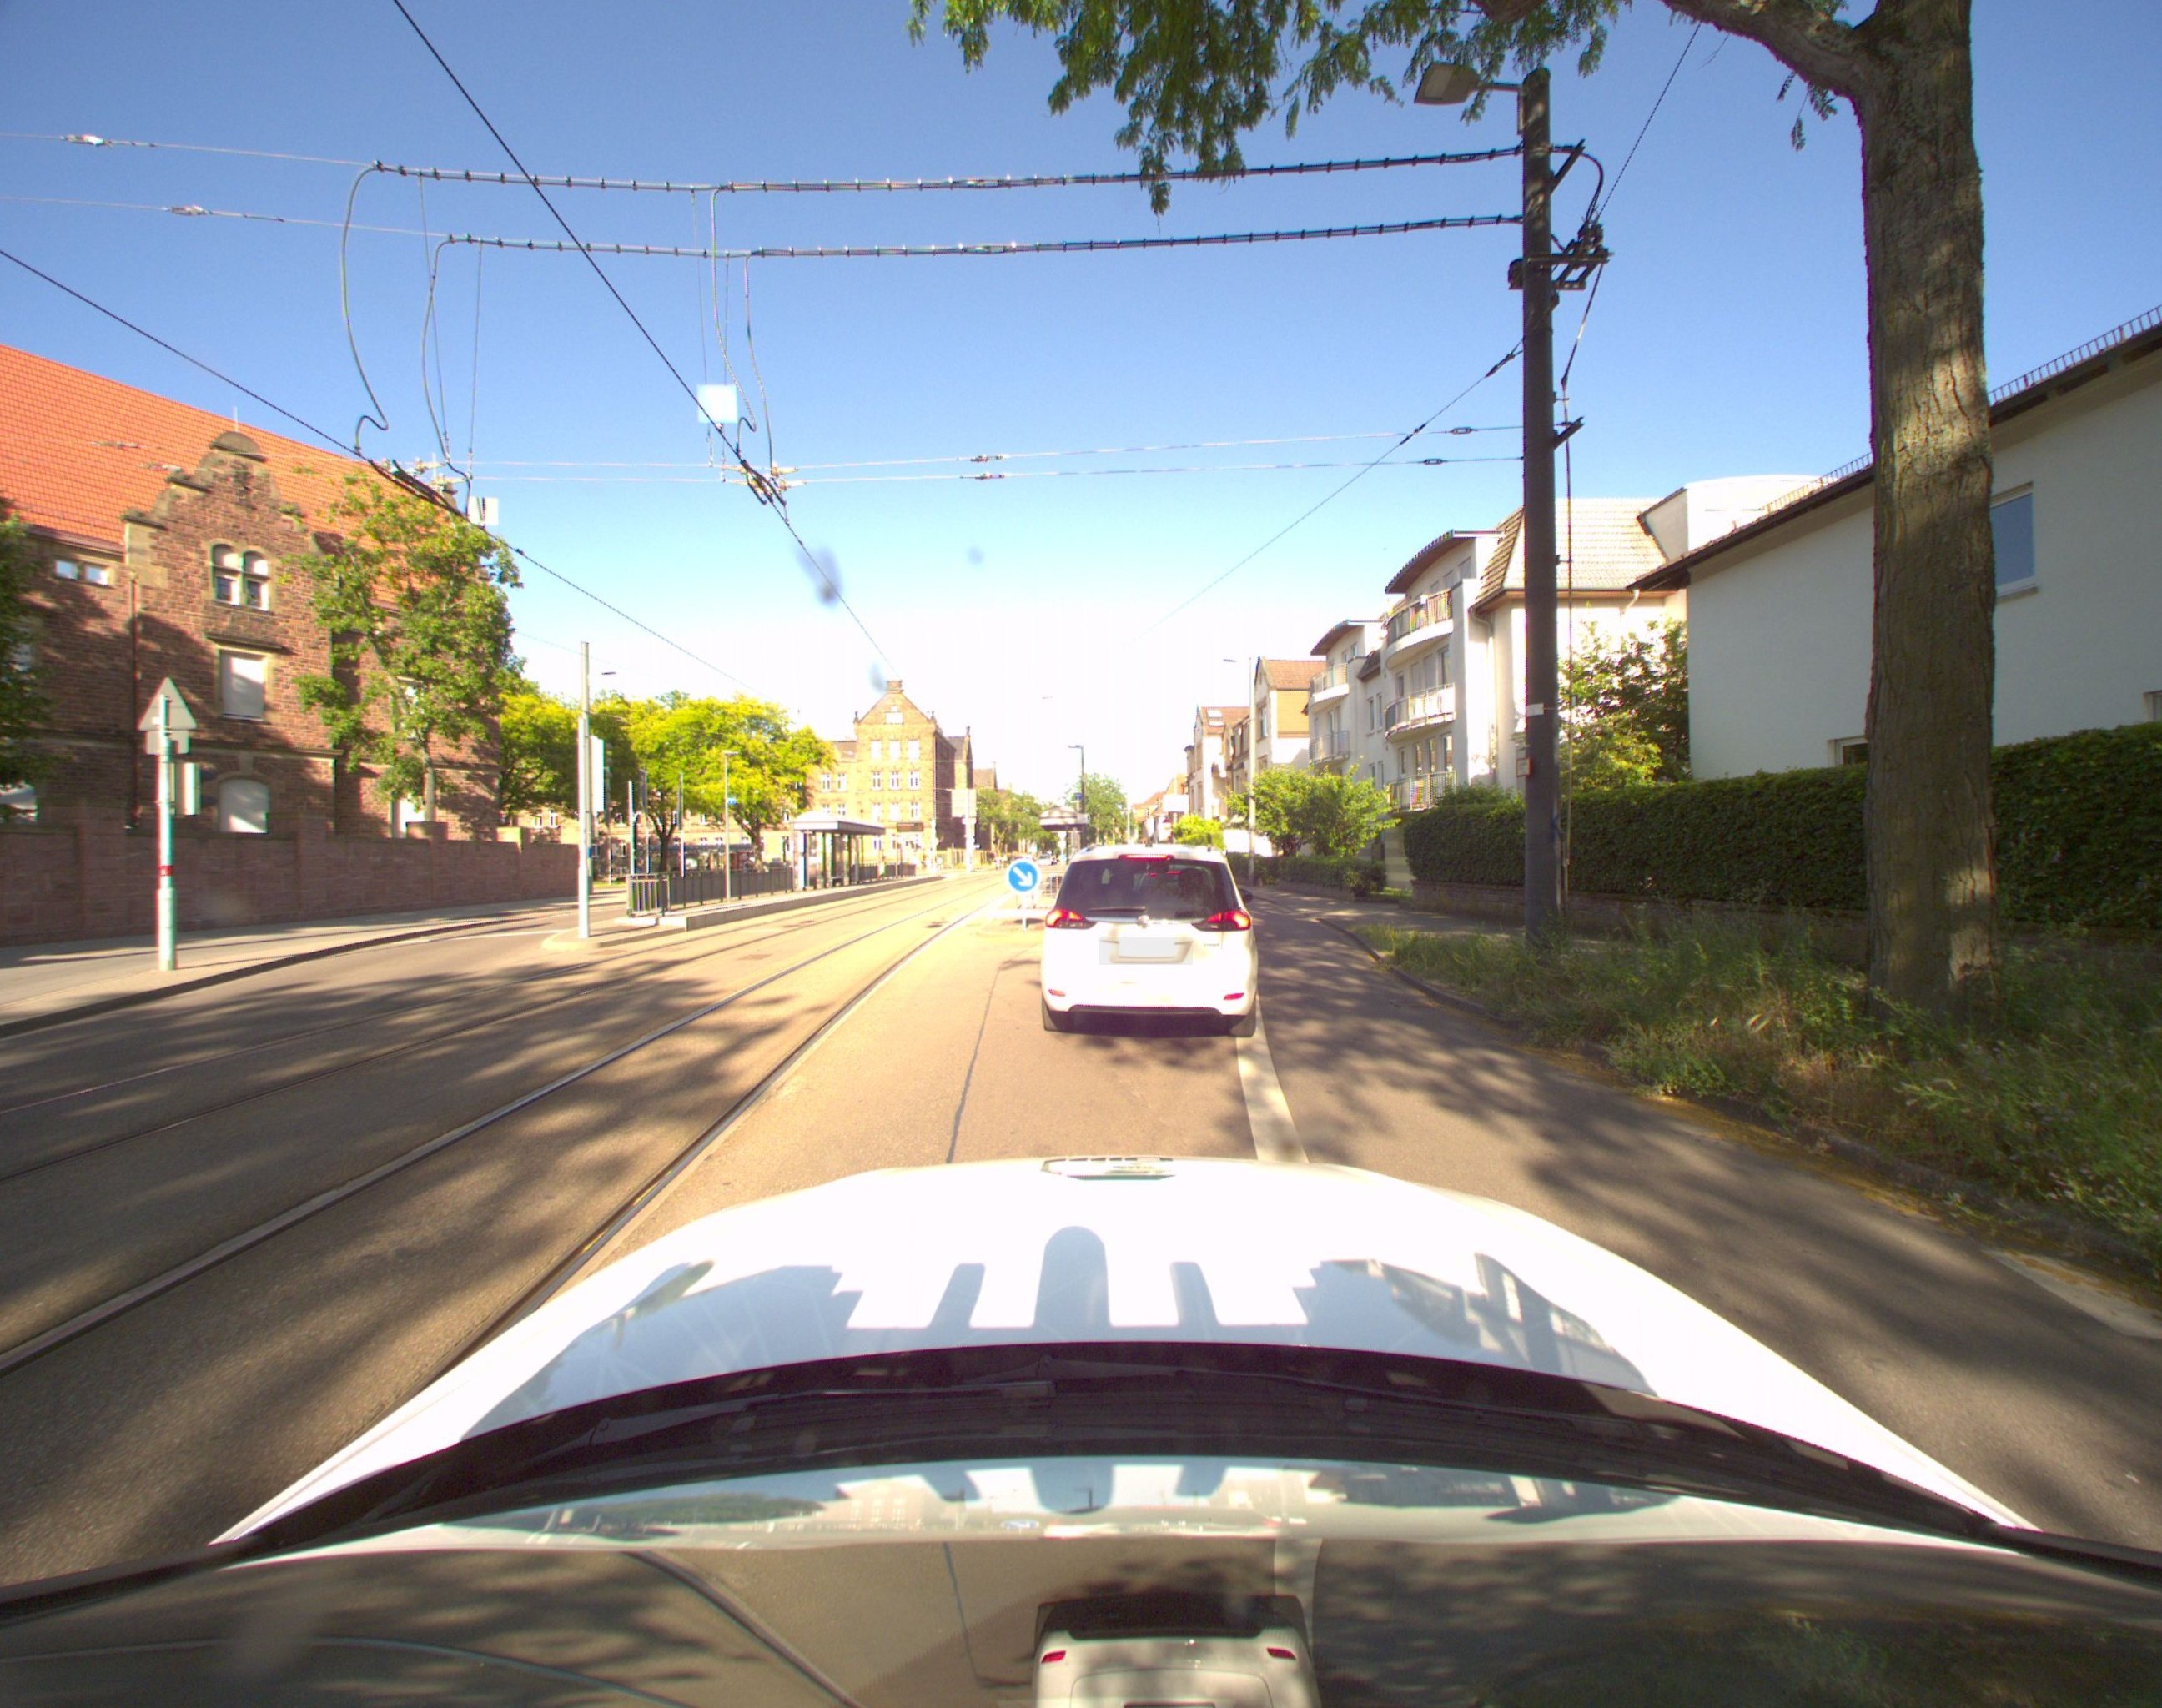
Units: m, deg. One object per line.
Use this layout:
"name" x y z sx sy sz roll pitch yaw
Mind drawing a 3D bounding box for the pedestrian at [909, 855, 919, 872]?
"pedestrian" -18.376 1.035 89.623 0.802 1.901 0.747 -1 -1 16

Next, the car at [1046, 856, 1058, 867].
"car" -4.588 1.178 129.391 1.740 1.716 4.001 0 -1 2

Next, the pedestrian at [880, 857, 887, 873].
"pedestrian" -21.600 1.197 88.937 0.768 1.774 0.717 0 -1 -15

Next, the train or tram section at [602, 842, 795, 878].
"train or tram section" -37.833 0.578 81.143 17.346 3.154 3.344 -1 -1 -3

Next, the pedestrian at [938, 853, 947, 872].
"pedestrian" -14.540 0.868 85.510 0.796 2.014 0.717 0 -1 -15

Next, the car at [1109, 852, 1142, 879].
"car" 2.850 0.752 53.175 1.901 1.661 4.000 -1 0 0

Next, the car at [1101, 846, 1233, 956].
"car" 1.563 0.690 13.861 1.896 1.597 4.010 -1 0 9

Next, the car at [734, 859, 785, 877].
"car" -29.643 1.317 75.210 3.976 1.630 1.817 0 -1 -2

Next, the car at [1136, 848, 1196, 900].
"car" 2.981 0.654 28.339 1.897 1.661 4.007 -1 0 6

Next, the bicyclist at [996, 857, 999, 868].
"bicyclist" -10.652 1.056 103.494 0.312 1.444 0.384 -1 0 1

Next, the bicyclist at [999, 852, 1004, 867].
"bicyclist" -10.682 0.713 109.629 0.496 2.013 0.572 -1 0 1

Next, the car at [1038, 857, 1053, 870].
"car" -4.695 1.254 107.666 1.740 1.716 4.001 0 -1 2

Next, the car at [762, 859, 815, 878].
"car" -25.436 1.241 70.967 3.976 1.630 1.817 0 -1 -2

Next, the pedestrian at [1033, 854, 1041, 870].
"pedestrian" -5.293 0.959 98.062 0.744 1.901 0.804 0 -1 -22

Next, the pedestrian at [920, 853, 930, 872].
"pedestrian" -17.051 0.941 88.944 0.800 2.014 0.713 0 -1 -32

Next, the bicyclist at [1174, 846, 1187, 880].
"bicyclist" 5.113 0.462 41.820 0.613 1.686 0.780 -1 0 6

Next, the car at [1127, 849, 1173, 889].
"car" 3.003 0.618 36.182 1.899 1.661 4.003 -1 0 3

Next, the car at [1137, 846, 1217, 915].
"car" 2.625 0.639 21.682 1.896 1.624 4.010 -1 0 9

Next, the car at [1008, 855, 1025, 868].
"car" -8.486 1.029 107.446 1.740 1.716 4.001 0 -1 2

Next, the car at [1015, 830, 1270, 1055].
"car" 0.765 0.666 8.142 1.896 1.661 4.010 -1 0 9

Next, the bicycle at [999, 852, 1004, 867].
"bicycle" -10.685 0.710 109.615 0.485 2.013 1.406 -1 0 2

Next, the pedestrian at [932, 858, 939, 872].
"pedestrian" -17.143 1.256 95.896 0.651 1.612 0.712 0 -1 4

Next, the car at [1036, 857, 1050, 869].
"car" -5.357 1.285 115.545 1.740 1.716 4.001 0 -1 2

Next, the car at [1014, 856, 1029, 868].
"car" -8.317 1.114 114.113 1.740 1.716 4.001 0 -1 2

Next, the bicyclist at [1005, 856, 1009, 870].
"bicyclist" -10.222 1.220 112.372 0.486 2.014 0.502 0 -1 1

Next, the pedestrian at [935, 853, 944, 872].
"pedestrian" -15.566 0.935 89.513 0.801 2.014 0.713 0 -1 -35
